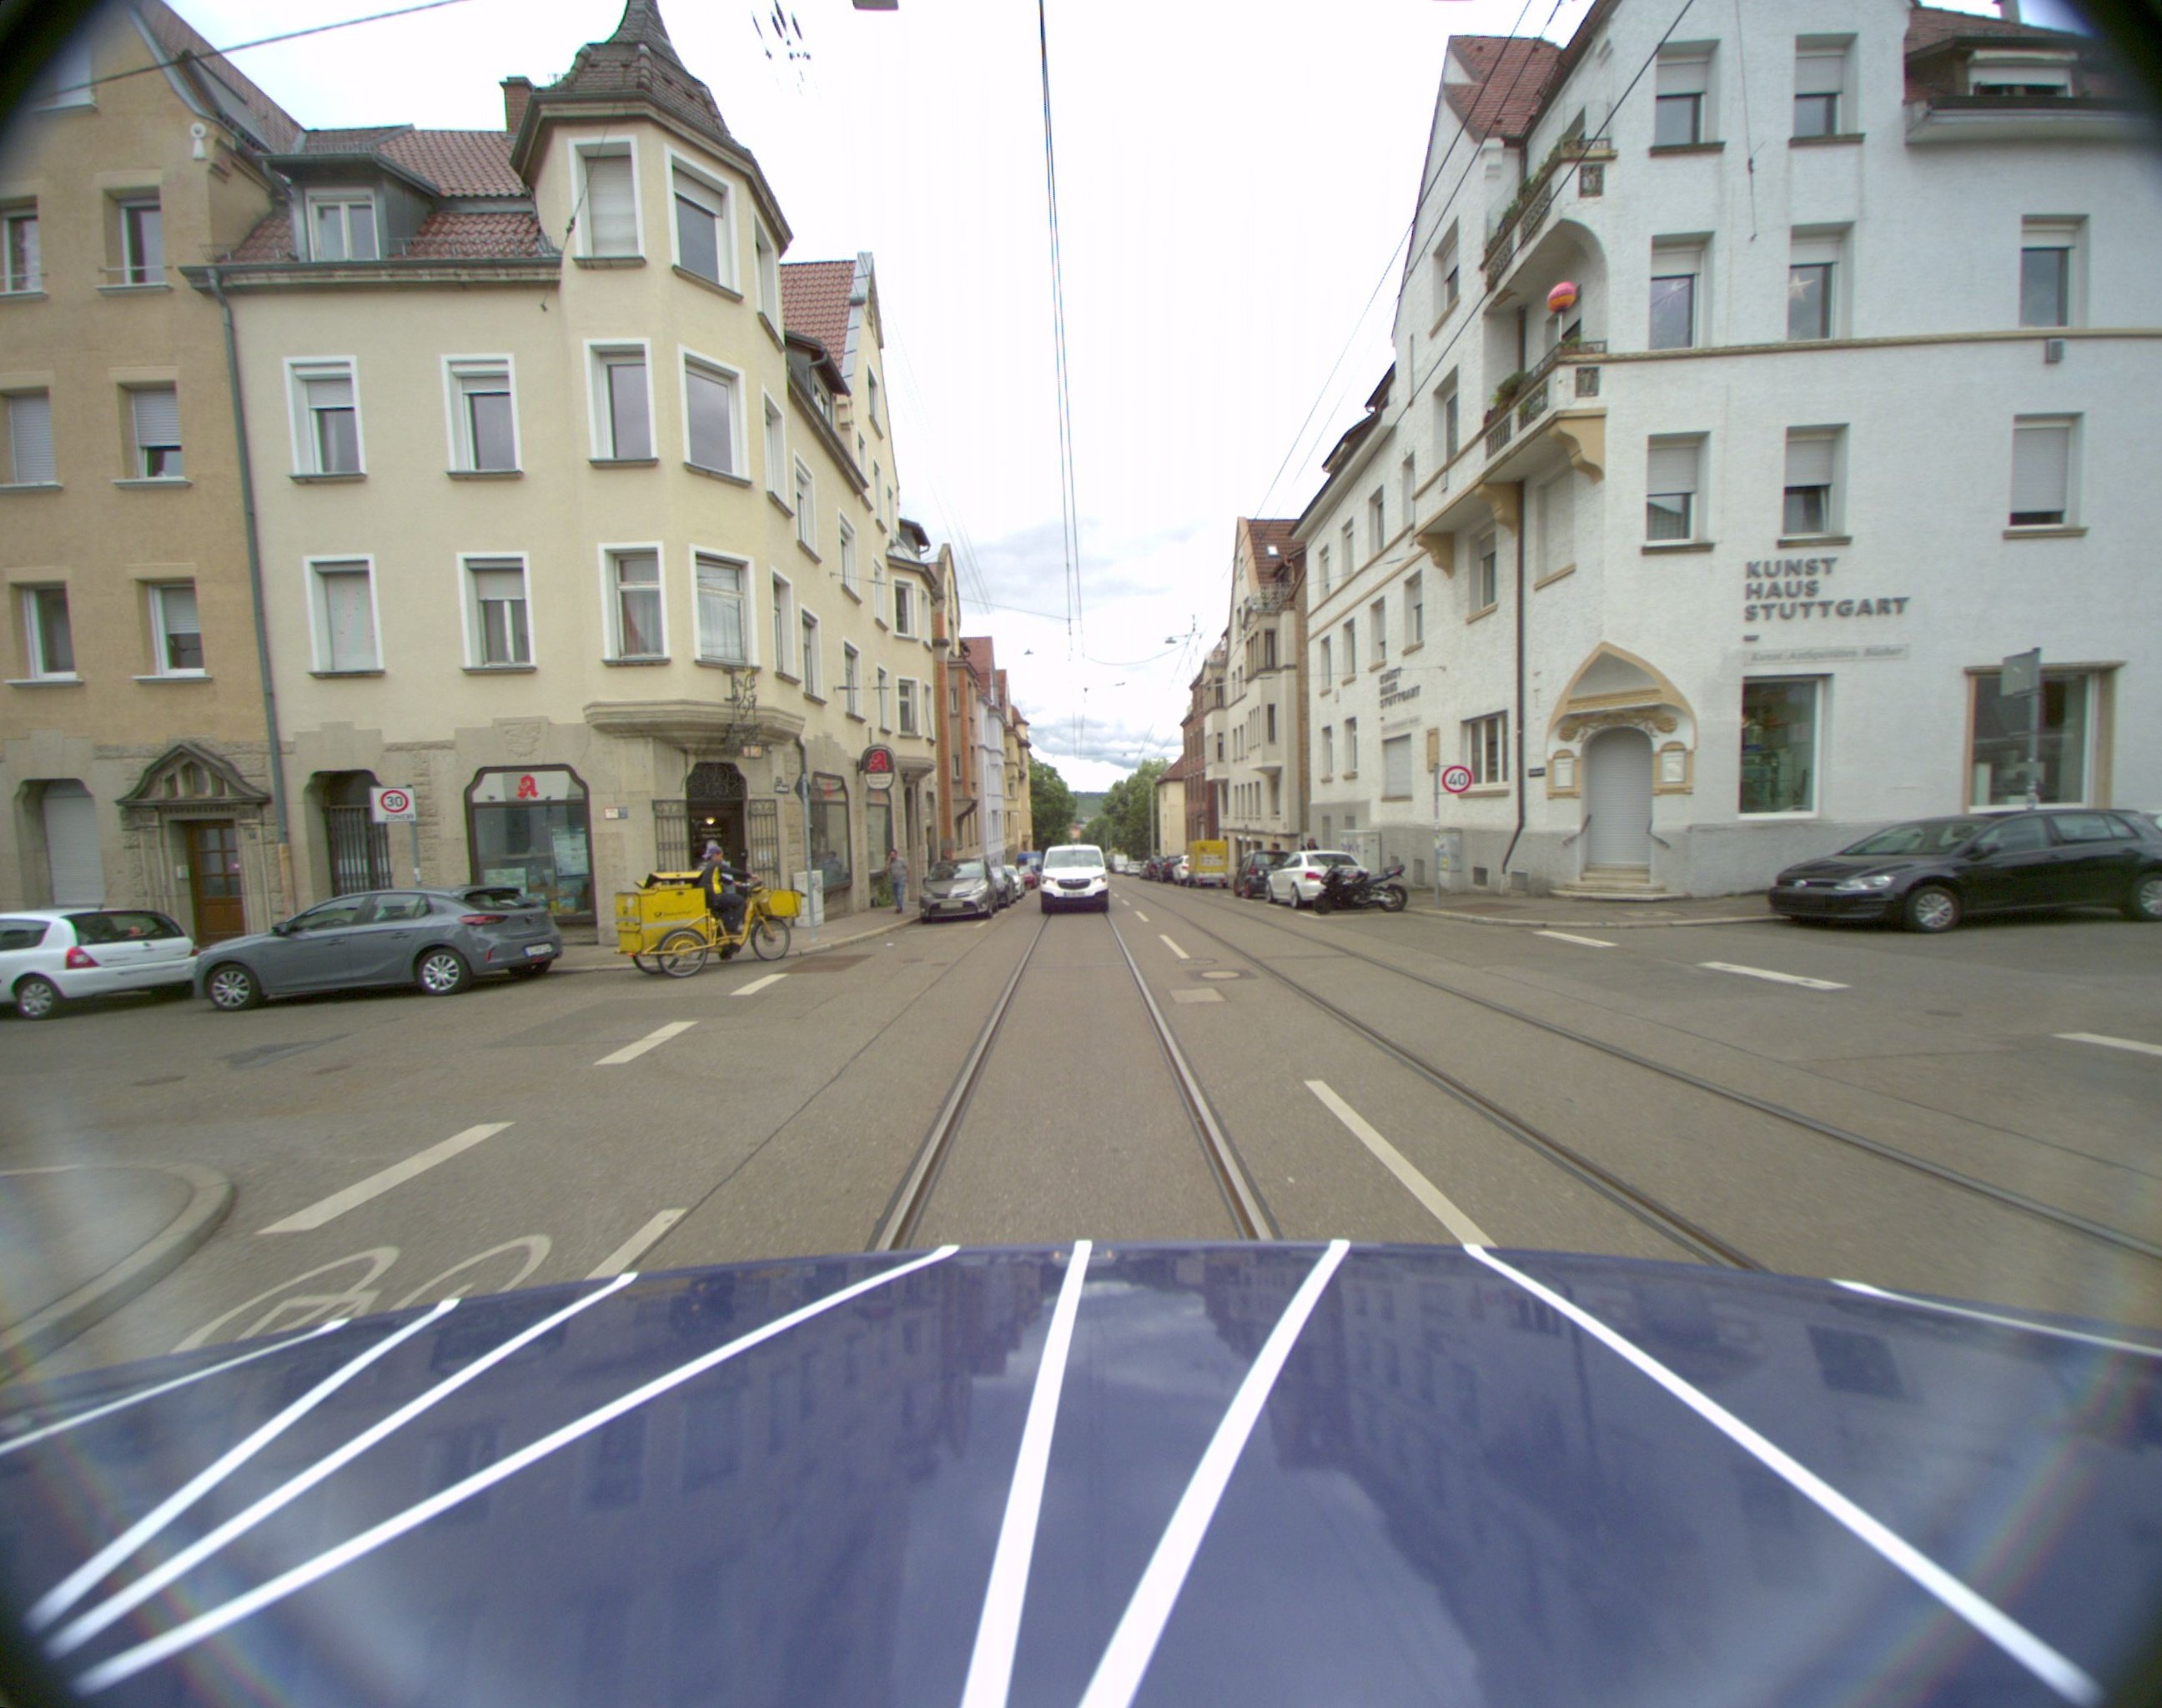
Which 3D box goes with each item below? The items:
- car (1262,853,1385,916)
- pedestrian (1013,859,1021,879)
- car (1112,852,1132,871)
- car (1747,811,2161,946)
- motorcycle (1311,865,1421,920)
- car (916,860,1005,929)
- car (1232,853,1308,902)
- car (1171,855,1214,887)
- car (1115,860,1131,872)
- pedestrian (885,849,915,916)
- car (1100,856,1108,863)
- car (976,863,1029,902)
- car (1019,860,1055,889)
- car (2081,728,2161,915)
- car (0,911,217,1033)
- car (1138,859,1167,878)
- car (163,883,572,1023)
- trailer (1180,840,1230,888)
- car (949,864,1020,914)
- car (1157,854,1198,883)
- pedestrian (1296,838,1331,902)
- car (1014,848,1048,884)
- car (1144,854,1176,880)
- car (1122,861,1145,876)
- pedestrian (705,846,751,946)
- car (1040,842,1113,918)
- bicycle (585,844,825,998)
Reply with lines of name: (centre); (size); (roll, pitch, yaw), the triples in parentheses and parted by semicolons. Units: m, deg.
car: (5.937, 0.689, 19.178); (1.784, 1.349, 4.292); (-2, 0, 1)
pedestrian: (-5.546, 1.256, 65.619); (0.542, 1.673, 0.516); (2, 2, -8)
car: (5.735, 1.068, 106.844); (2.164, 2.591, 6.218); (1, -1, -2)
car: (11.625, 0.287, 10.056); (3.997, 1.455, 1.754); (-3, 0, 2)
motorcycle: (6.031, 0.808, 16.212); (2.111, 1.127, 0.767); (-1, 0, 14)
car: (-3.118, 0.980, 20.516); (1.740, 1.528, 4.573); (-4, 0, -2)
car: (5.962, 0.721, 24.253); (1.701, 1.460, 3.023); (0, 0, 0)
car: (5.798, 0.869, 39.916); (1.701, 1.584, 4.269); (0, -1, 0)
car: (5.339, 1.520, 96.770); (1.723, 1.394, 4.313); (1, -1, 0)
pedestrian: (-5.010, 0.771, 21.037); (0.600, 1.792, 0.631); (-2, 1, 0)
car: (5.462, 1.371, 182.143); (1.856, 1.531, 3.948); (-2, -1, 0)
car: (-3.217, 1.139, 31.891); (1.755, 1.382, 4.307); (-4, 0, -1)
car: (-2.516, 1.184, 44.716); (1.784, 1.466, 4.589); (-4, 0, 0)
car: (17.673, -0.585, 9.888); (6.207, 2.517, 2.192); (-3, 1, 2)
car: (-14.463, 1.615, 10.338); (3.442, 1.380, 1.580); (-3, 0, -2)
car: (5.609, 1.136, 60.001); (1.832, 1.420, 4.839); (0, -1, 0)
car: (-9.367, 1.257, 10.222); (3.857, 1.455, 1.580); (-3, 0, -2)
trailer: (5.790, 0.468, 35.894); (1.753, 2.143, 4.071); (0, -1, 0)
car: (-3.131, 1.098, 25.571); (1.784, 1.382, 4.691); (-4, 0, -1)
car: (5.747, 0.841, 45.903); (1.878, 1.654, 4.892); (0, -1, 0)
pedestrian: (7.210, 0.474, 23.602); (0.590, 1.895, 0.811); (-7, 1, -1)
car: (-3.466, 0.781, 53.873); (1.999, 2.362, 5.056); (-2, 0, 0)
car: (5.590, 0.922, 54.288); (1.832, 1.708, 4.914); (0, -1, 0)
car: (5.431, 1.468, 78.762); (1.832, 1.420, 4.627); (2, -1, -2)
pedestrian: (-6.396, 0.748, 13.768); (0.483, 1.757, 0.493); (-2, 0, 34)
car: (-0.066, 0.667, 21.149); (1.759, 1.824, 4.448); (-2, 0, 1)
bicycle: (-5.258, 0.835, 10.825); (1.179, 1.855, 2.734); (-3, 0, 42)
